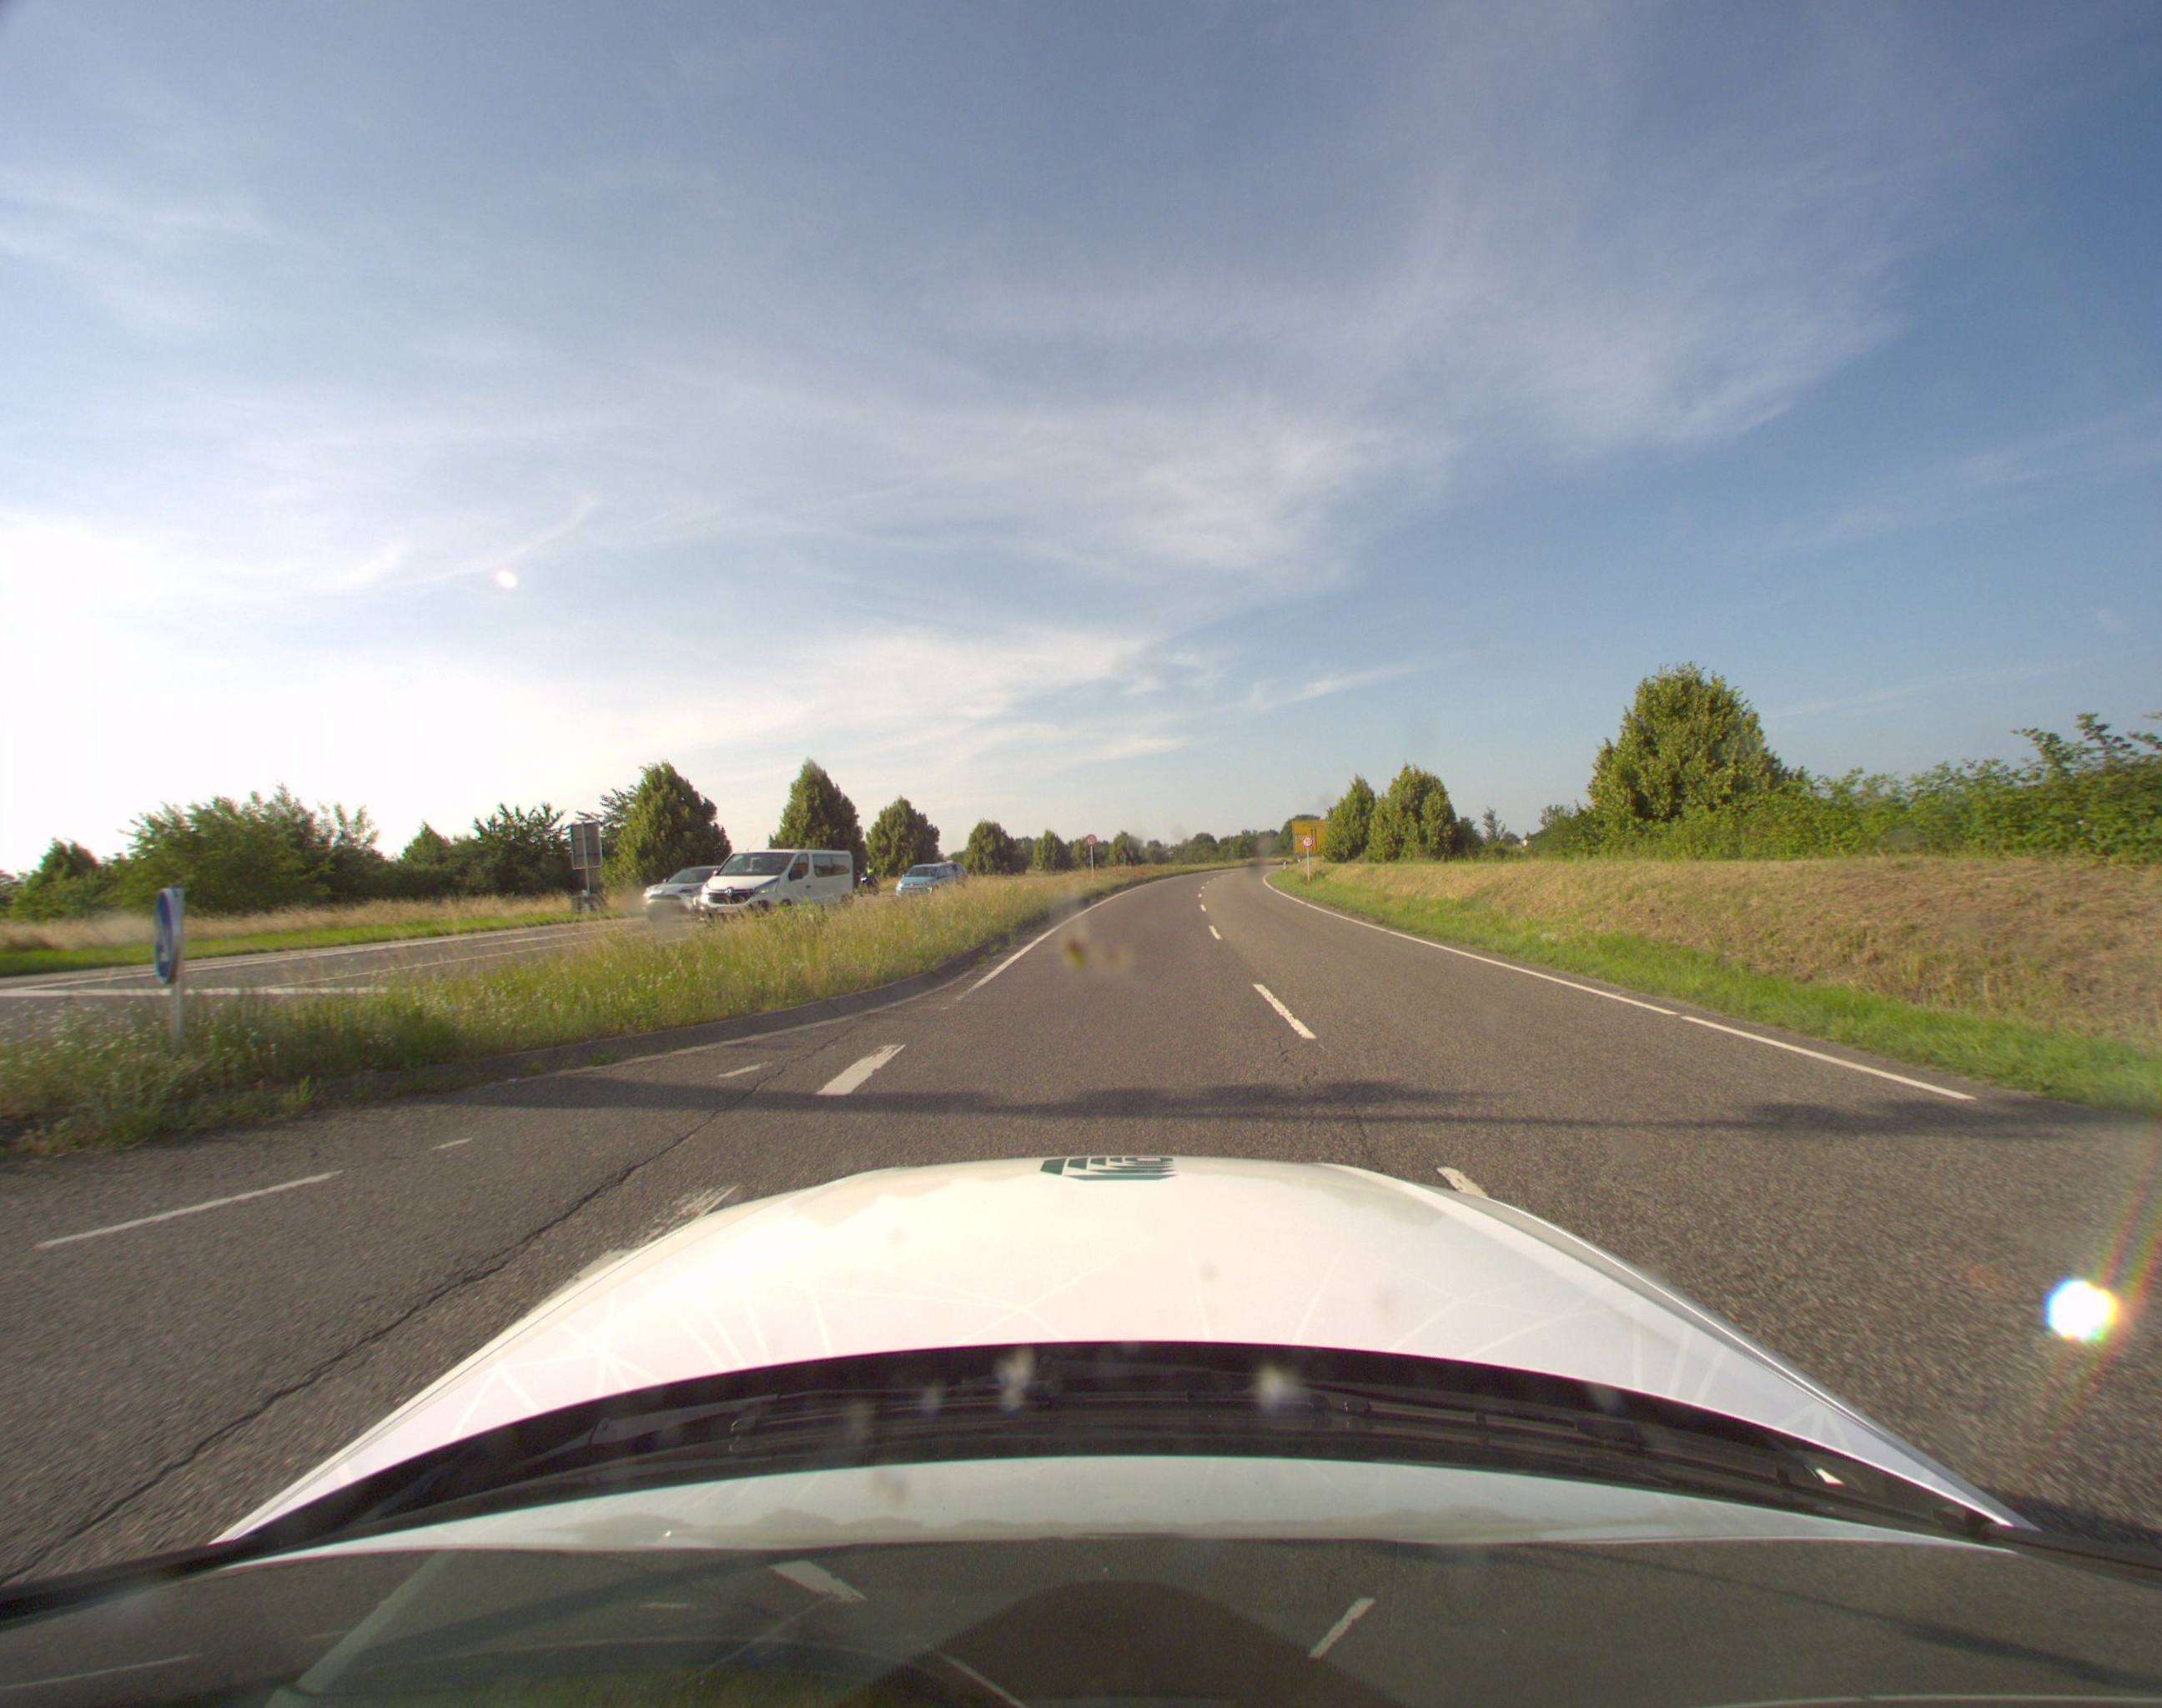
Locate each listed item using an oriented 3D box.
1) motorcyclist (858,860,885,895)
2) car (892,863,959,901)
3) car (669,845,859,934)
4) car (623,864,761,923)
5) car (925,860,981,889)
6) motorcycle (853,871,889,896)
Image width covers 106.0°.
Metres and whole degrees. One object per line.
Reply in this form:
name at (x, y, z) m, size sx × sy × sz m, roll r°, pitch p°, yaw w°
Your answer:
motorcyclist at (-9.720, 1.071, 37.896) m, size 0.748 × 1.604 × 1.252 m, roll -1°, pitch -1°, yaw 9°
car at (-6.399, 1.117, 33.801) m, size 1.670 × 1.443 × 3.758 m, roll -1°, pitch -1°, yaw 6°
car at (-7.720, 0.796, 20.674) m, size 1.983 × 1.904 × 5.799 m, roll -1°, pitch -1°, yaw 6°
car at (-11.134, 1.075, 23.649) m, size 1.697 × 1.525 × 4.140 m, roll -1°, pitch -1°, yaw 5°
car at (-7.458, 1.185, 47.985) m, size 1.901 × 1.565 × 4.622 m, roll -2°, pitch -1°, yaw 9°
motorcycle at (-9.748, 1.348, 37.930) m, size 0.748 × 1.093 × 2.313 m, roll -1°, pitch -1°, yaw 9°
